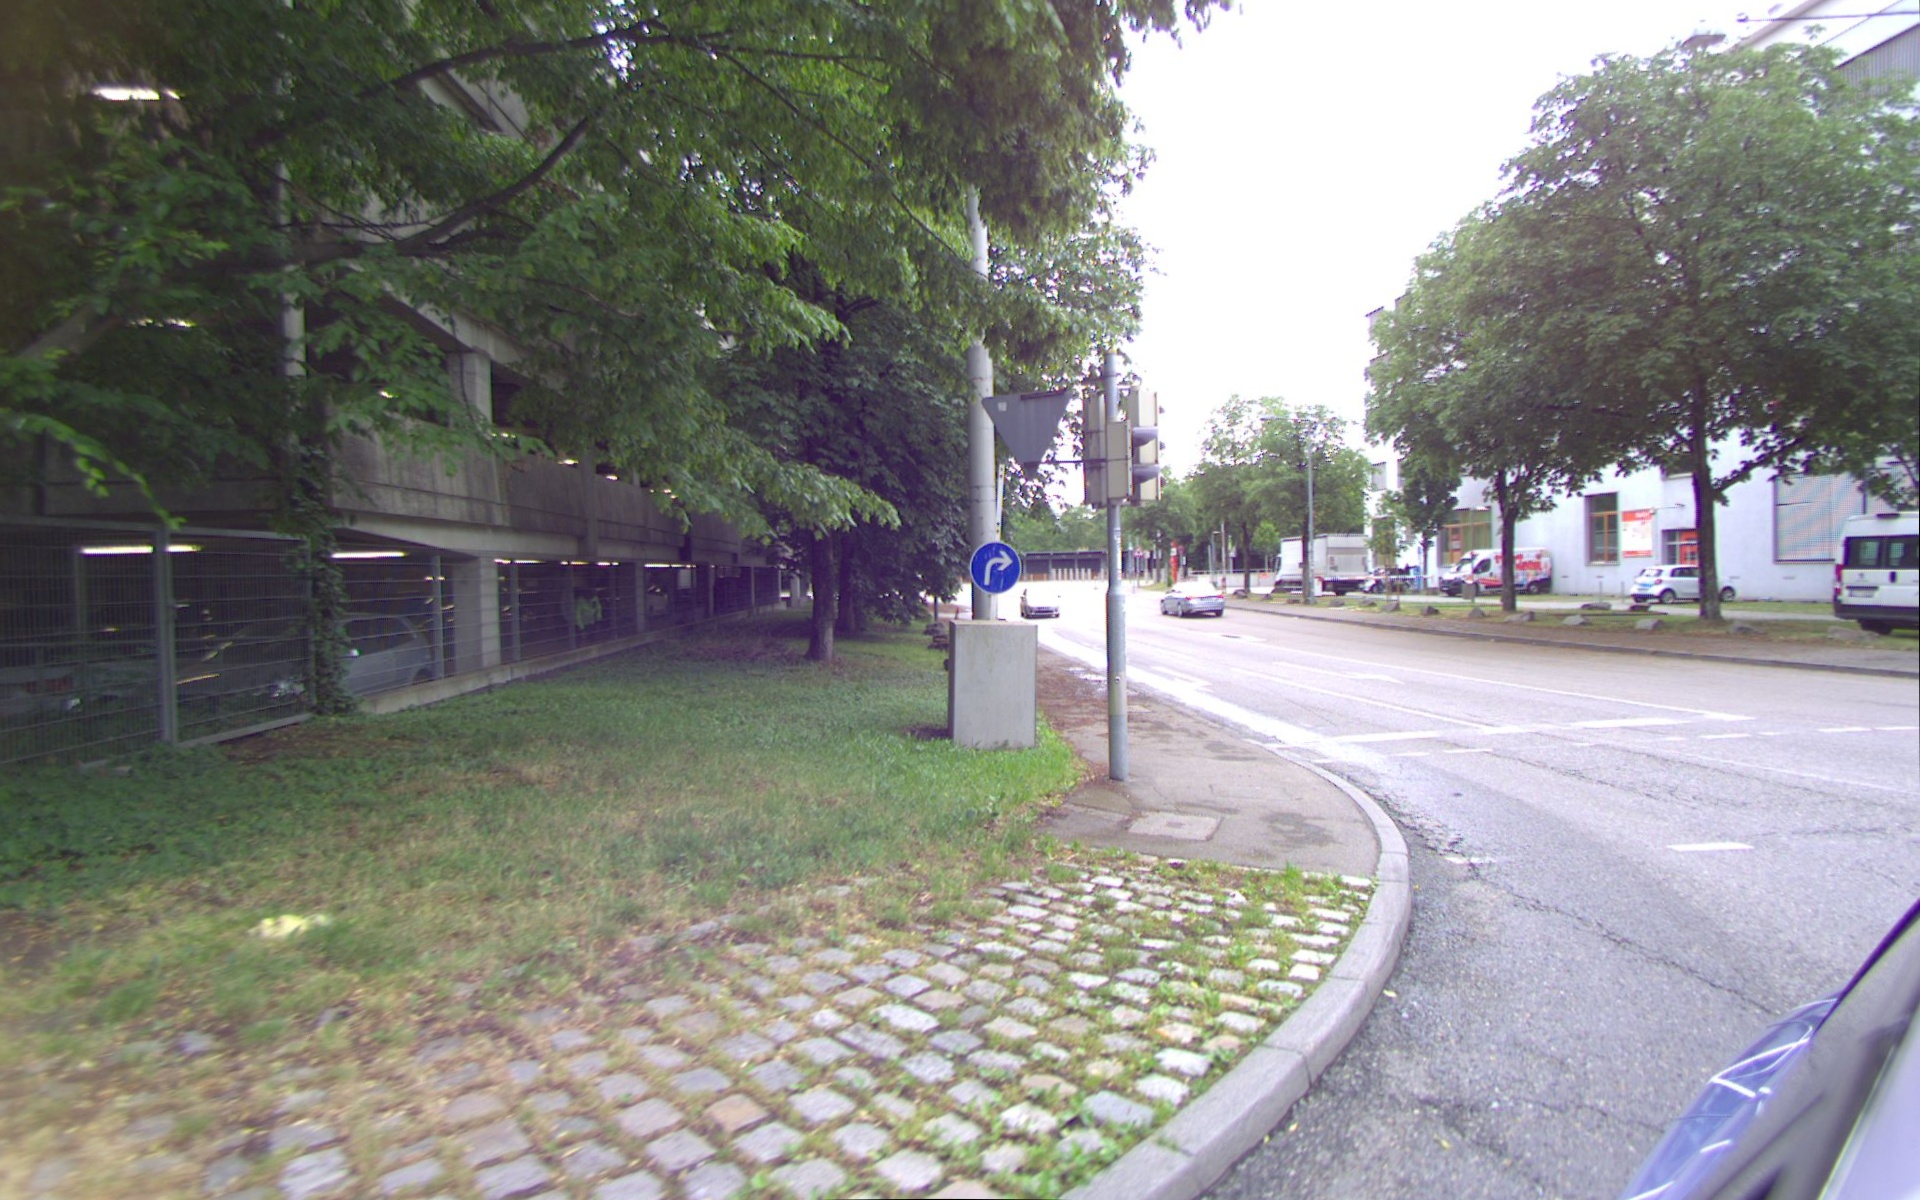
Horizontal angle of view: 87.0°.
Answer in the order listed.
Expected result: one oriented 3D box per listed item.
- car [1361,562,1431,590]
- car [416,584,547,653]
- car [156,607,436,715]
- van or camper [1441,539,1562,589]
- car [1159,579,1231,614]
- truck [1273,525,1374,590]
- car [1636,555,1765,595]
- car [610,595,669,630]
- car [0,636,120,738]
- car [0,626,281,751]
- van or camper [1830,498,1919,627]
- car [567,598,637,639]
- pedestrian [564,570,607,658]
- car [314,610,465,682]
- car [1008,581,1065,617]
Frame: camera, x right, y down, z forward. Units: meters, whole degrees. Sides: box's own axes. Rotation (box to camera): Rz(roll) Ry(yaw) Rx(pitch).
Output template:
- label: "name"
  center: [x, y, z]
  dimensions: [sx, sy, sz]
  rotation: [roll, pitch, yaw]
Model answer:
- label: "car"
  center: [27.639, -1.551, 64.226]
  dimensions: [3.632, 1.668, 1.655]
  rotation: [-1, 1, 0]
- label: "car"
  center: [-13.513, 0.459, 28.857]
  dimensions: [1.961, 1.749, 4.003]
  rotation: [-3, 1, -4]
- label: "car"
  center: [-8.166, 0.687, 12.796]
  dimensions: [1.508, 1.101, 3.256]
  rotation: [-1, 1, -3]
- label: "van or camper"
  center: [28.585, -1.895, 53.550]
  dimensions: [5.165, 2.456, 2.260]
  rotation: [-2, 1, -4]
- label: "car"
  center: [9.911, -0.140, 42.958]
  dimensions: [1.669, 1.415, 4.375]
  rotation: [0, 0, -5]
- label: "truck"
  center: [21.768, -2.482, 61.207]
  dimensions: [2.596, 3.661, 7.849]
  rotation: [0, 1, -6]
- label: "car"
  center: [29.820, -1.005, 40.823]
  dimensions: [3.934, 1.436, 1.715]
  rotation: [-2, 1, -2]
- label: "car"
  center: [-13.830, 0.522, 43.859]
  dimensions: [1.493, 1.343, 3.778]
  rotation: [-2, 1, -3]
- label: "car"
  center: [-12.618, 1.128, 12.453]
  dimensions: [1.591, 1.176, 3.642]
  rotation: [-1, 1, -1]
- label: "car"
  center: [-10.426, 1.000, 12.566]
  dimensions: [1.591, 1.176, 3.642]
  rotation: [-1, 1, -1]
- label: "van or camper"
  center: [20.697, -0.744, 20.143]
  dimensions: [5.082, 2.454, 2.159]
  rotation: [-1, 0, -5]
- label: "car"
  center: [-13.699, 0.680, 38.942]
  dimensions: [1.493, 1.381, 3.778]
  rotation: [-2, 1, -3]
- label: "pedestrian"
  center: [-7.579, 0.278, 20.496]
  dimensions: [0.606, 1.721, 0.611]
  rotation: [3, 1, -4]
- label: "car"
  center: [-13.125, 0.996, 23.539]
  dimensions: [1.493, 1.381, 3.778]
  rotation: [-2, 1, -3]
- label: "car"
  center: [3.562, -0.095, 48.113]
  dimensions: [1.818, 1.497, 4.517]
  rotation: [-2, 2, -7]
